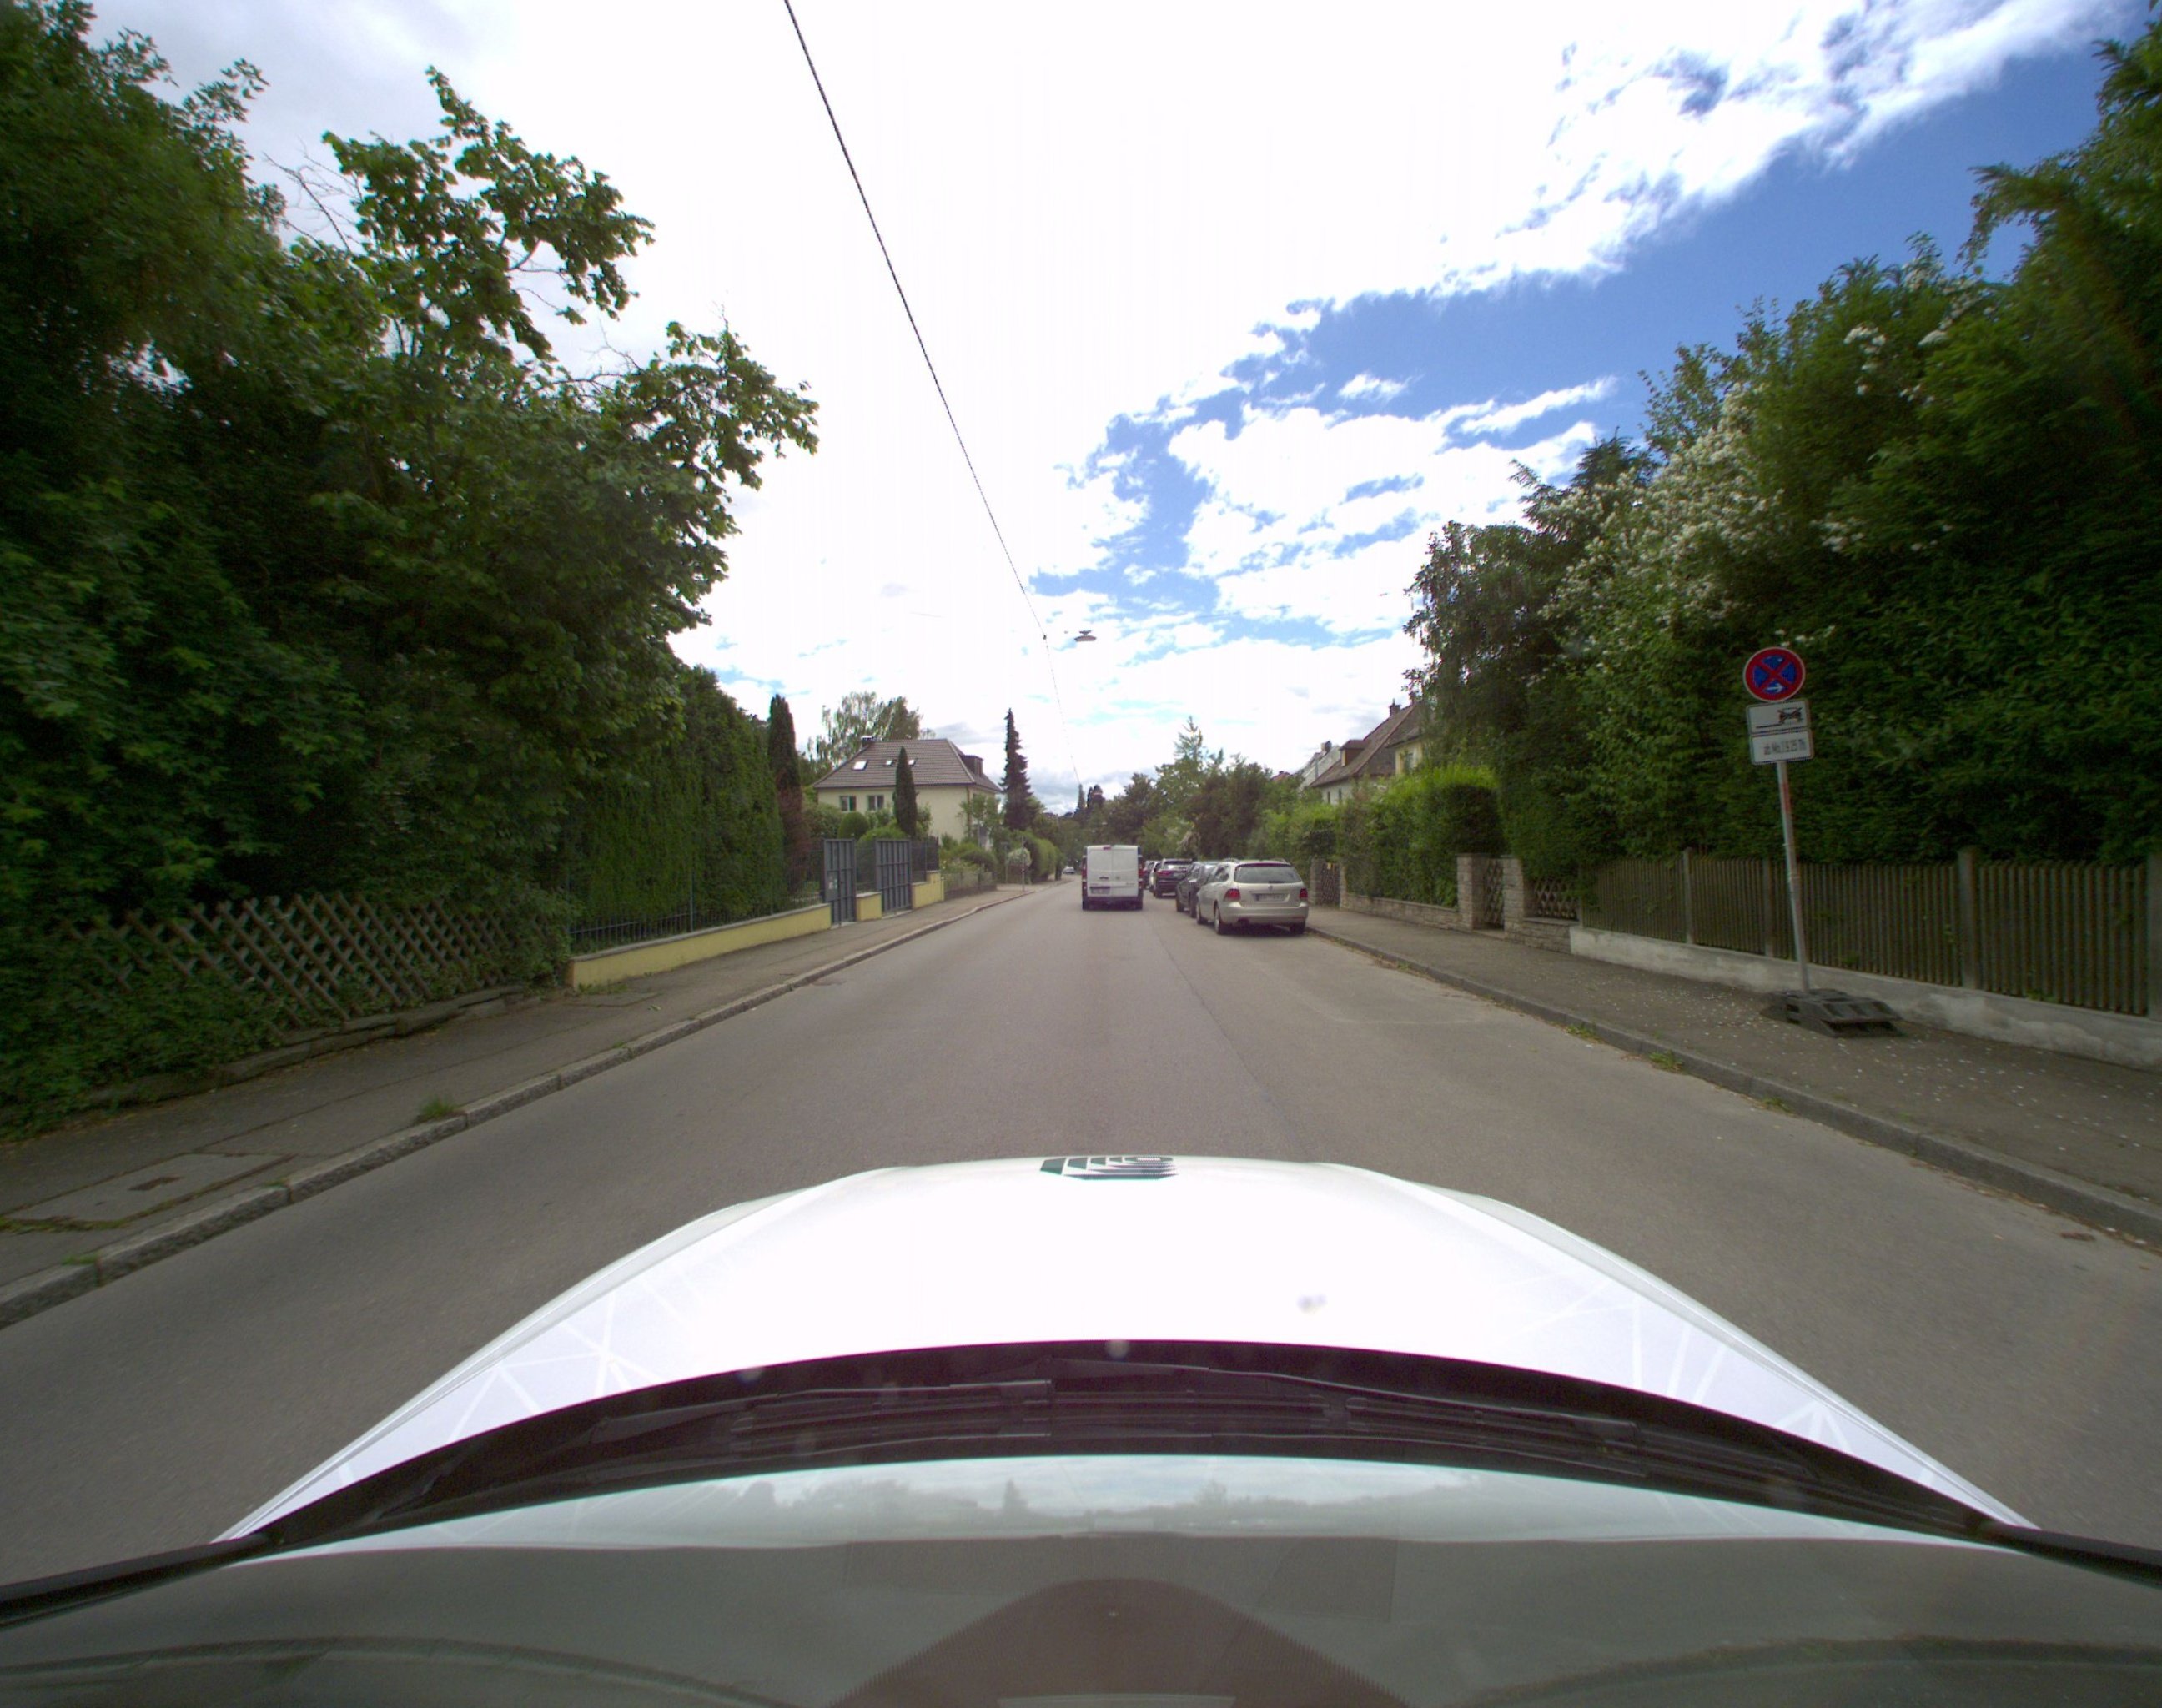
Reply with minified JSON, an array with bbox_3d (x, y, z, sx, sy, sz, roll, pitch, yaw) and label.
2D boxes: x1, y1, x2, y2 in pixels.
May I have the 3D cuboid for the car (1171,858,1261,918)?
[{"bbox_3d":[3.583,0.855,22.314,1.712,1.460,4.138,-1,0,-1],"label":"car"}]

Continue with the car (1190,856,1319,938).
[{"bbox_3d":[3.511,0.814,17.258,1.751,1.477,4.356,-1,0,-1],"label":"car"}]

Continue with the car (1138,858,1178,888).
[{"bbox_3d":[4.431,1.110,47.475,1.944,1.627,4.374,0,-1,0],"label":"car"}]

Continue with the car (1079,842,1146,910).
[{"bbox_3d":[0.919,0.653,25.997,1.924,1.964,4.400,0,-1,0],"label":"car"}]

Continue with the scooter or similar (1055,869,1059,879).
[{"bbox_3d":[-2.786,2.411,96.248,0.390,1.171,1.270,1,-1,0],"label":"scooter or similar"}]

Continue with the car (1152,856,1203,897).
[{"bbox_3d":[3.933,0.915,33.741,1.793,1.592,4.144,-1,-1,3],"label":"car"}]

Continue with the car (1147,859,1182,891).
[{"bbox_3d":[4.182,1.057,41.090,1.592,1.510,3.014,-1,-1,2],"label":"car"}]
